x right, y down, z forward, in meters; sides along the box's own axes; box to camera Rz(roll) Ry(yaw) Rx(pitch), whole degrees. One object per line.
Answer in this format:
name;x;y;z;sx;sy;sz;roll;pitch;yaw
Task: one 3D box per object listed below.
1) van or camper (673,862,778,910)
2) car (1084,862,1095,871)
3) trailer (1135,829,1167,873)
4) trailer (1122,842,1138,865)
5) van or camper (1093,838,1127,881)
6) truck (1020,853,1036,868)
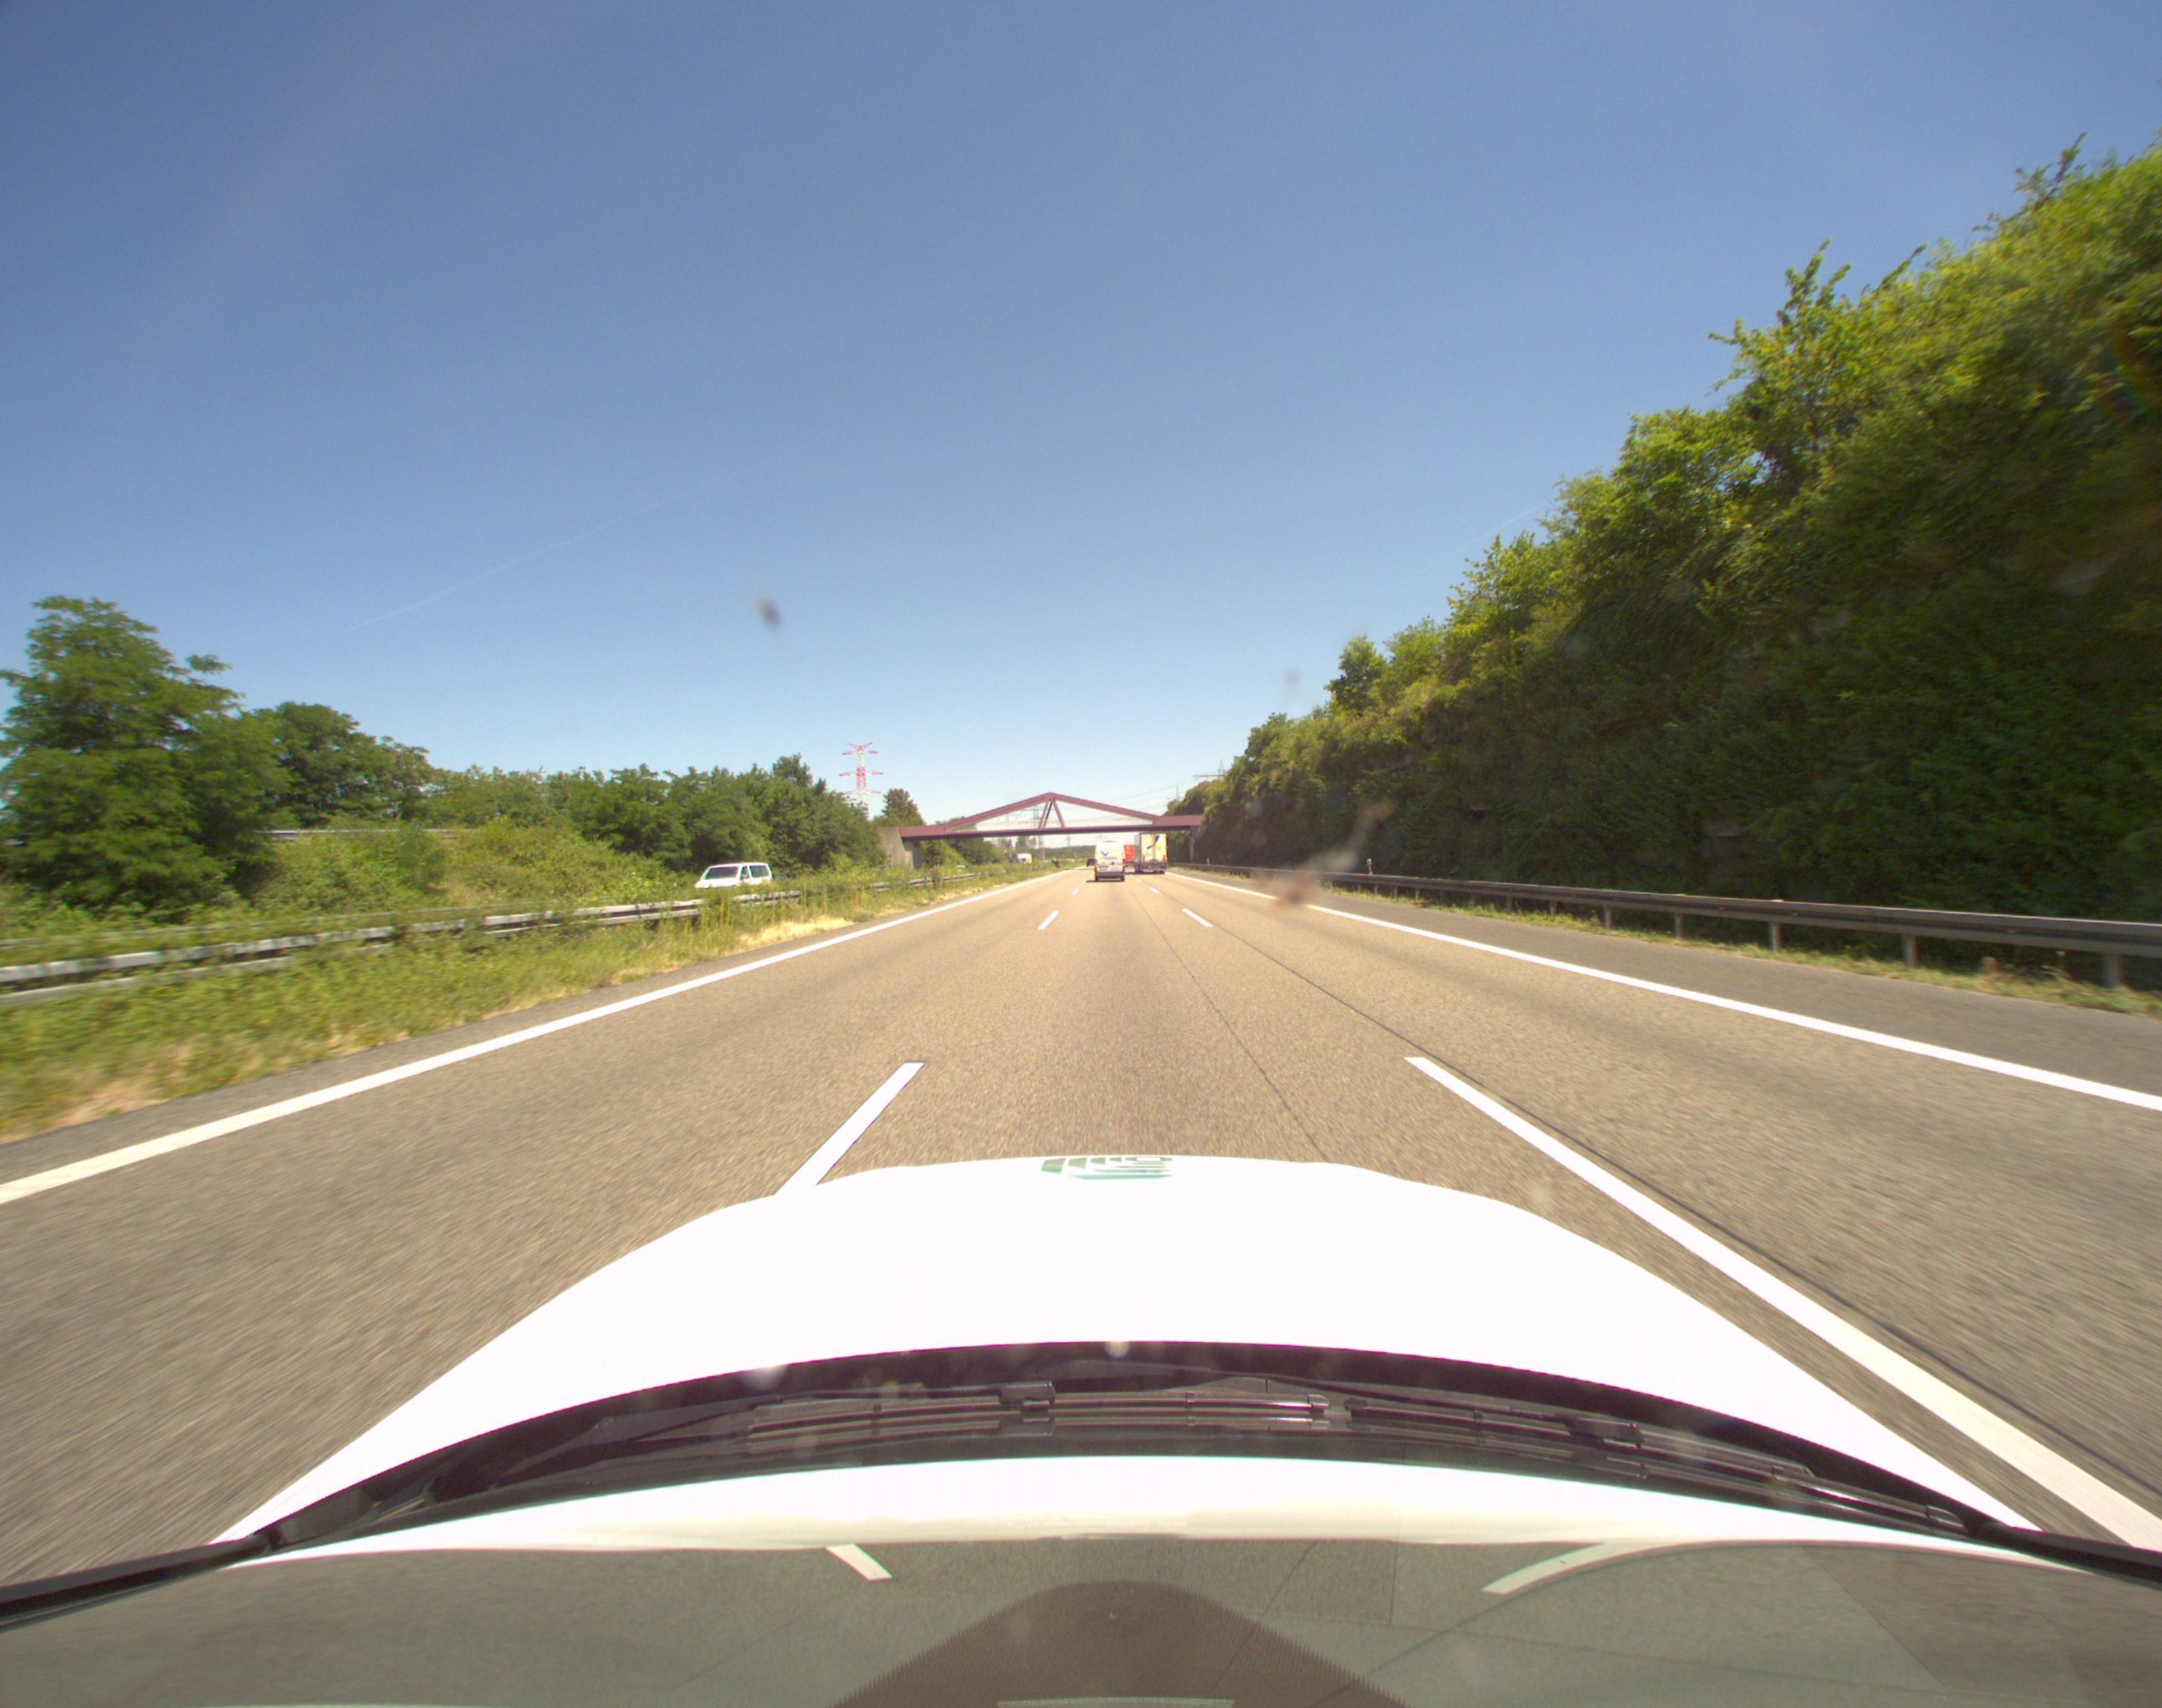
van or camper;-15.793;1.349;36.555;2.118;1.856;5.313;-4;0;2
car;1.779;2.469;165.801;1.974;1.817;3.816;0;0;3
trailer;6.974;-0.272;82.493;2.627;4.060;12.372;0;0;2
trailer;8.788;-0.065;146.543;2.627;3.897;7.072;0;0;2
van or camper;1.953;0.353;55.577;2.222;2.782;5.424;0;0;1
truck;-13.053;1.537;202.352;2.798;3.537;10.191;-3;0;1
